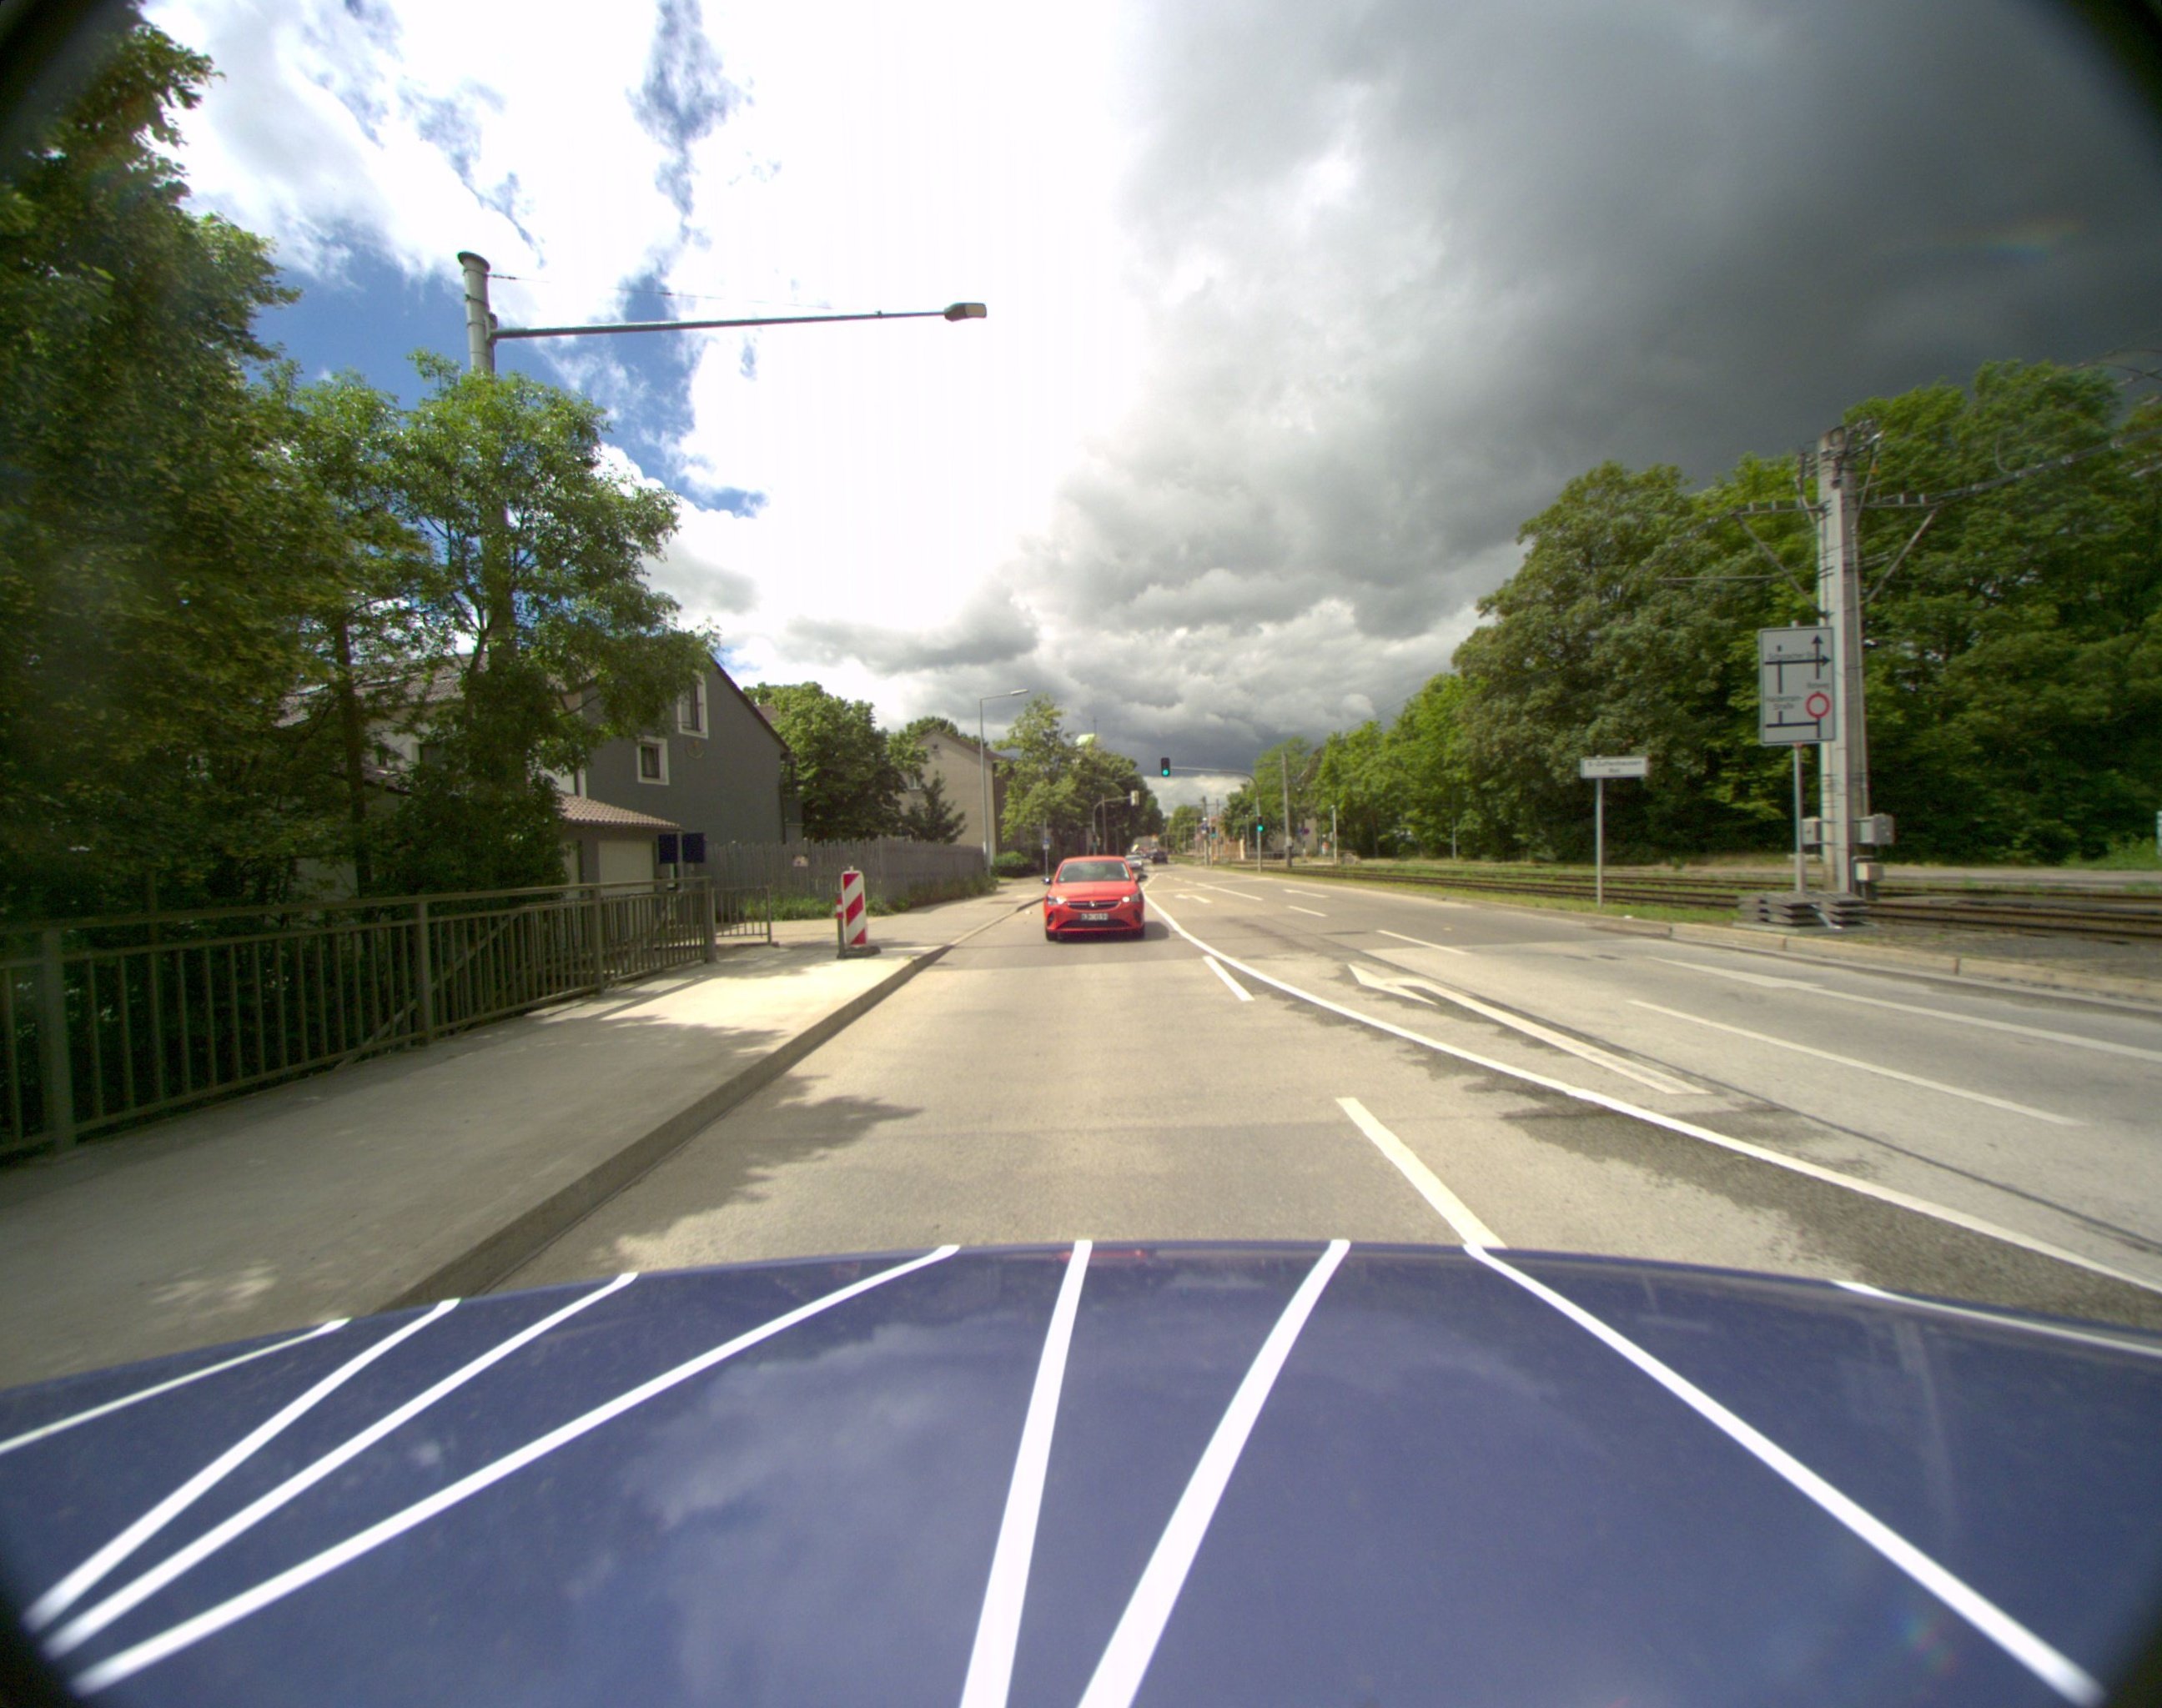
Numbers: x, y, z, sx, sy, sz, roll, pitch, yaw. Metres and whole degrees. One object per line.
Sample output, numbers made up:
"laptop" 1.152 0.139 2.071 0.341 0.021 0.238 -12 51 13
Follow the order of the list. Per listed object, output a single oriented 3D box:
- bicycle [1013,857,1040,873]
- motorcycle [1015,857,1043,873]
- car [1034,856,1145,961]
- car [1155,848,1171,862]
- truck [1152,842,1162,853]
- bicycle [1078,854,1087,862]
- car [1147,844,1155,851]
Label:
"bicycle" -4.698 0.941 65.133 2.170 1.275 0.681 -2 2 13
"motorcycle" -4.520 0.940 65.886 2.208 1.275 0.681 -2 2 13
"car" 0.273 0.812 13.203 1.665 1.513 3.787 0 0 5
"car" 10.667 0.094 99.057 1.711 1.666 4.229 -4 0 3
"truck" 19.625 -1.776 196.753 2.096 2.723 5.098 -4 1 2
"bicycle" 0.187 0.612 114.612 0.437 1.074 1.750 -5 1 -30
"car" 16.186 -1.548 174.755 1.584 1.477 3.808 -4 0 7
